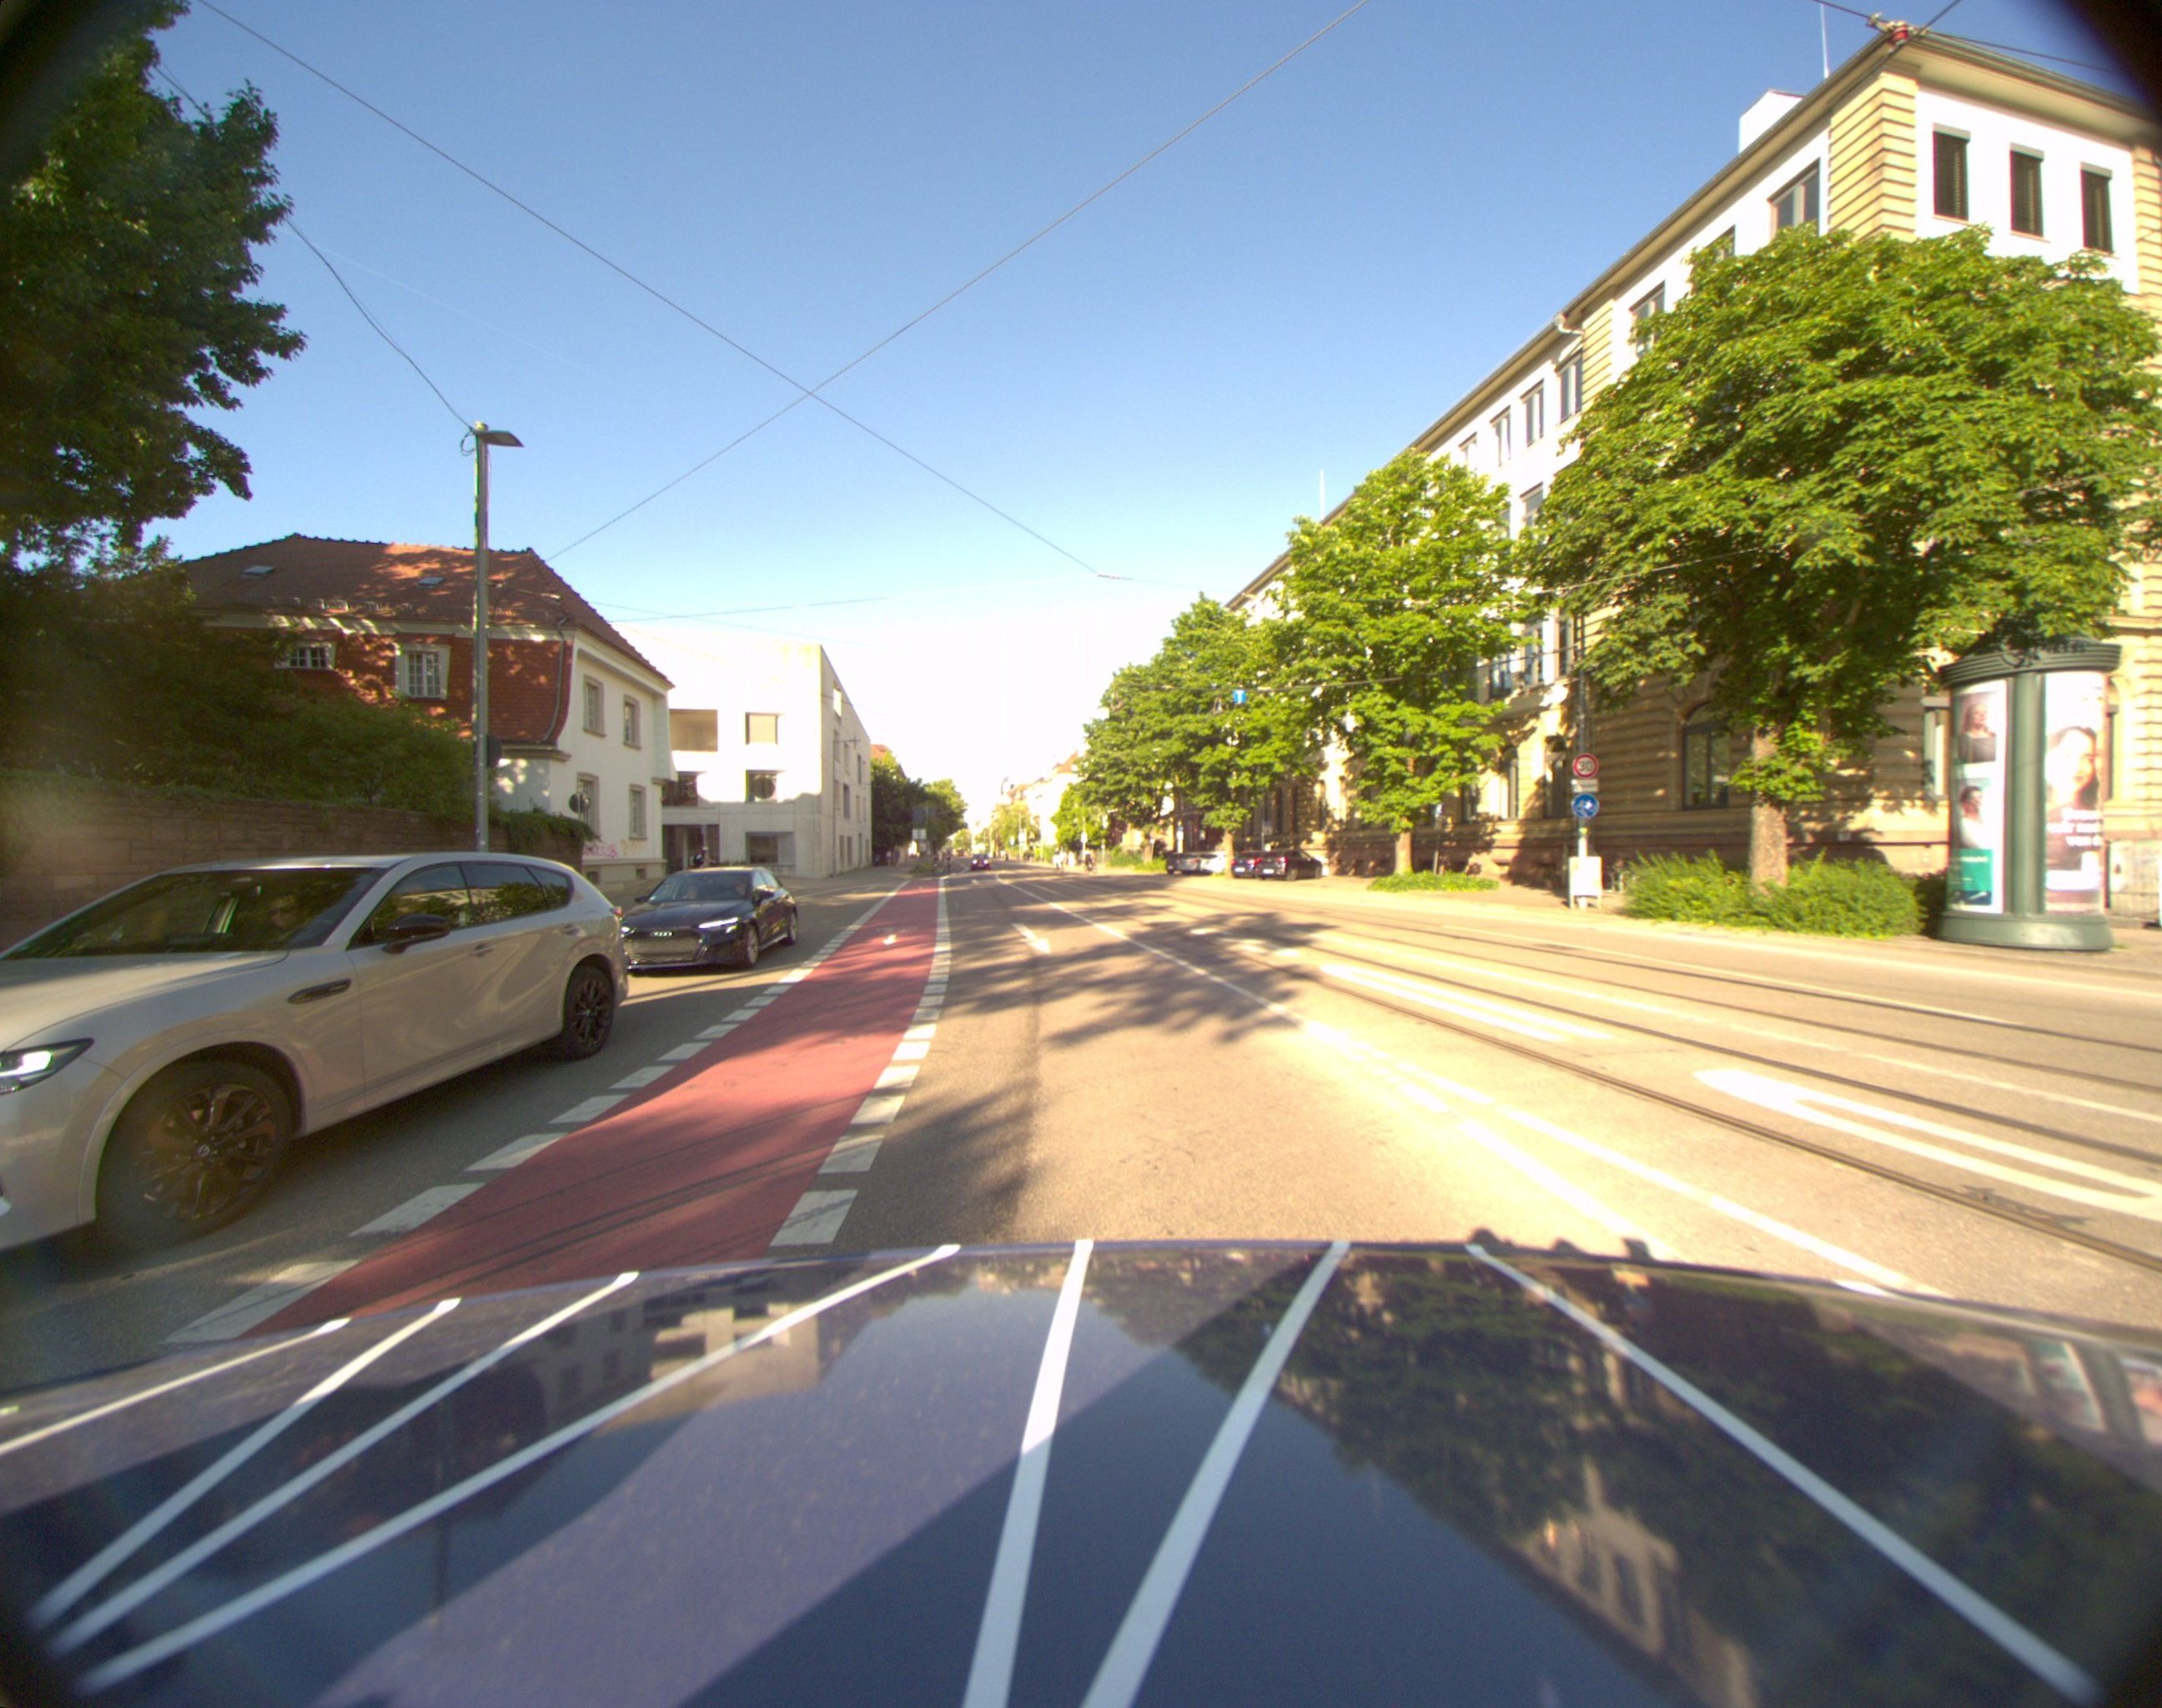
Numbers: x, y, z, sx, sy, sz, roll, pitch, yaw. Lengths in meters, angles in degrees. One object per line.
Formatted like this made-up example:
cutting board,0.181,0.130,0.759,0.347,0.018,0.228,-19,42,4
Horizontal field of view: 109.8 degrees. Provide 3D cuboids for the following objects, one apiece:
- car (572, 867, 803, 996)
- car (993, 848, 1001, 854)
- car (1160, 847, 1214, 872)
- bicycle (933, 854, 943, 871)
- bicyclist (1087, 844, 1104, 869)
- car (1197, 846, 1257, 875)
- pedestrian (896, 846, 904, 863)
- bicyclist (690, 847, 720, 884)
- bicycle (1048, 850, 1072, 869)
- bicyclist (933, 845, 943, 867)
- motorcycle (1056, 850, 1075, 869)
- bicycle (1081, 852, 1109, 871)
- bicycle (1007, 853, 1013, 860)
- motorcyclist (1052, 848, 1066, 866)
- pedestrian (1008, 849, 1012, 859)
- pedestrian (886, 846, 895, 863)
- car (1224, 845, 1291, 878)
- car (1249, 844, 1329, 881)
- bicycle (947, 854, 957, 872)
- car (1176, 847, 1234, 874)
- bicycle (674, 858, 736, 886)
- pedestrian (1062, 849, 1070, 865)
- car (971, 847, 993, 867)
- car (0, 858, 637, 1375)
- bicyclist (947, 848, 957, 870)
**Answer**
car,-5.620,0.995,11.482,1.789,1.425,3.997,-2,1,-8
car,-21.782,-0.693,197.842,1.650,1.552,3.646,-2,1,-12
car,7.236,0.354,51.772,3.657,1.552,1.645,-3,1,-43
bicycle,-10.775,0.597,57.343,0.676,1.243,2.454,0,1,-8
bicyclist,0.960,0.177,50.901,0.674,1.638,1.031,0,1,33
car,8.890,0.382,46.131,3.657,1.552,1.645,-3,1,-43
pedestrian,-17.597,0.069,73.792,0.676,1.638,0.817,-1,1,-9
bicyclist,-17.295,0.512,34.926,0.674,1.638,1.031,1,1,40
bicycle,-1.470,0.378,53.673,0.674,1.243,2.461,0,1,25
bicyclist,-10.761,0.144,57.244,0.676,1.638,1.028,0,1,-8
motorcycle,-1.093,0.407,55.200,0.680,1.285,2.268,-2,1,16
bicycle,0.979,0.498,50.936,0.674,1.243,2.462,0,1,33
bicycle,-12.042,0.381,129.236,0.676,1.243,2.456,-1,1,0
motorcyclist,-1.524,0.184,53.555,0.674,1.243,0.855,0,1,25
pedestrian,-12.047,-0.061,129.227,0.675,1.638,0.817,-1,1,0
pedestrian,-18.482,0.073,73.791,0.676,1.638,0.817,-1,1,-9
car,9.419,0.384,40.415,3.657,1.552,1.645,-3,1,-43
car,10.383,0.401,37.755,4.189,1.621,1.841,-3,1,-43
bicycle,-9.573,0.666,56.444,0.676,1.243,2.454,0,1,-8
car,7.912,0.383,48.361,3.657,1.552,1.645,-3,1,-43
bicycle,-17.277,0.800,34.945,0.674,1.243,2.462,1,1,41
pedestrian,-1.619,0.323,82.176,0.676,1.638,0.817,-1,1,-9
car,-8.499,0.237,65.553,1.649,1.552,3.648,-2,1,-5
car,-4.806,0.935,4.474,1.946,1.682,4.529,-2,1,-5
bicyclist,-9.576,0.351,56.454,0.676,1.638,1.028,0,1,-8
